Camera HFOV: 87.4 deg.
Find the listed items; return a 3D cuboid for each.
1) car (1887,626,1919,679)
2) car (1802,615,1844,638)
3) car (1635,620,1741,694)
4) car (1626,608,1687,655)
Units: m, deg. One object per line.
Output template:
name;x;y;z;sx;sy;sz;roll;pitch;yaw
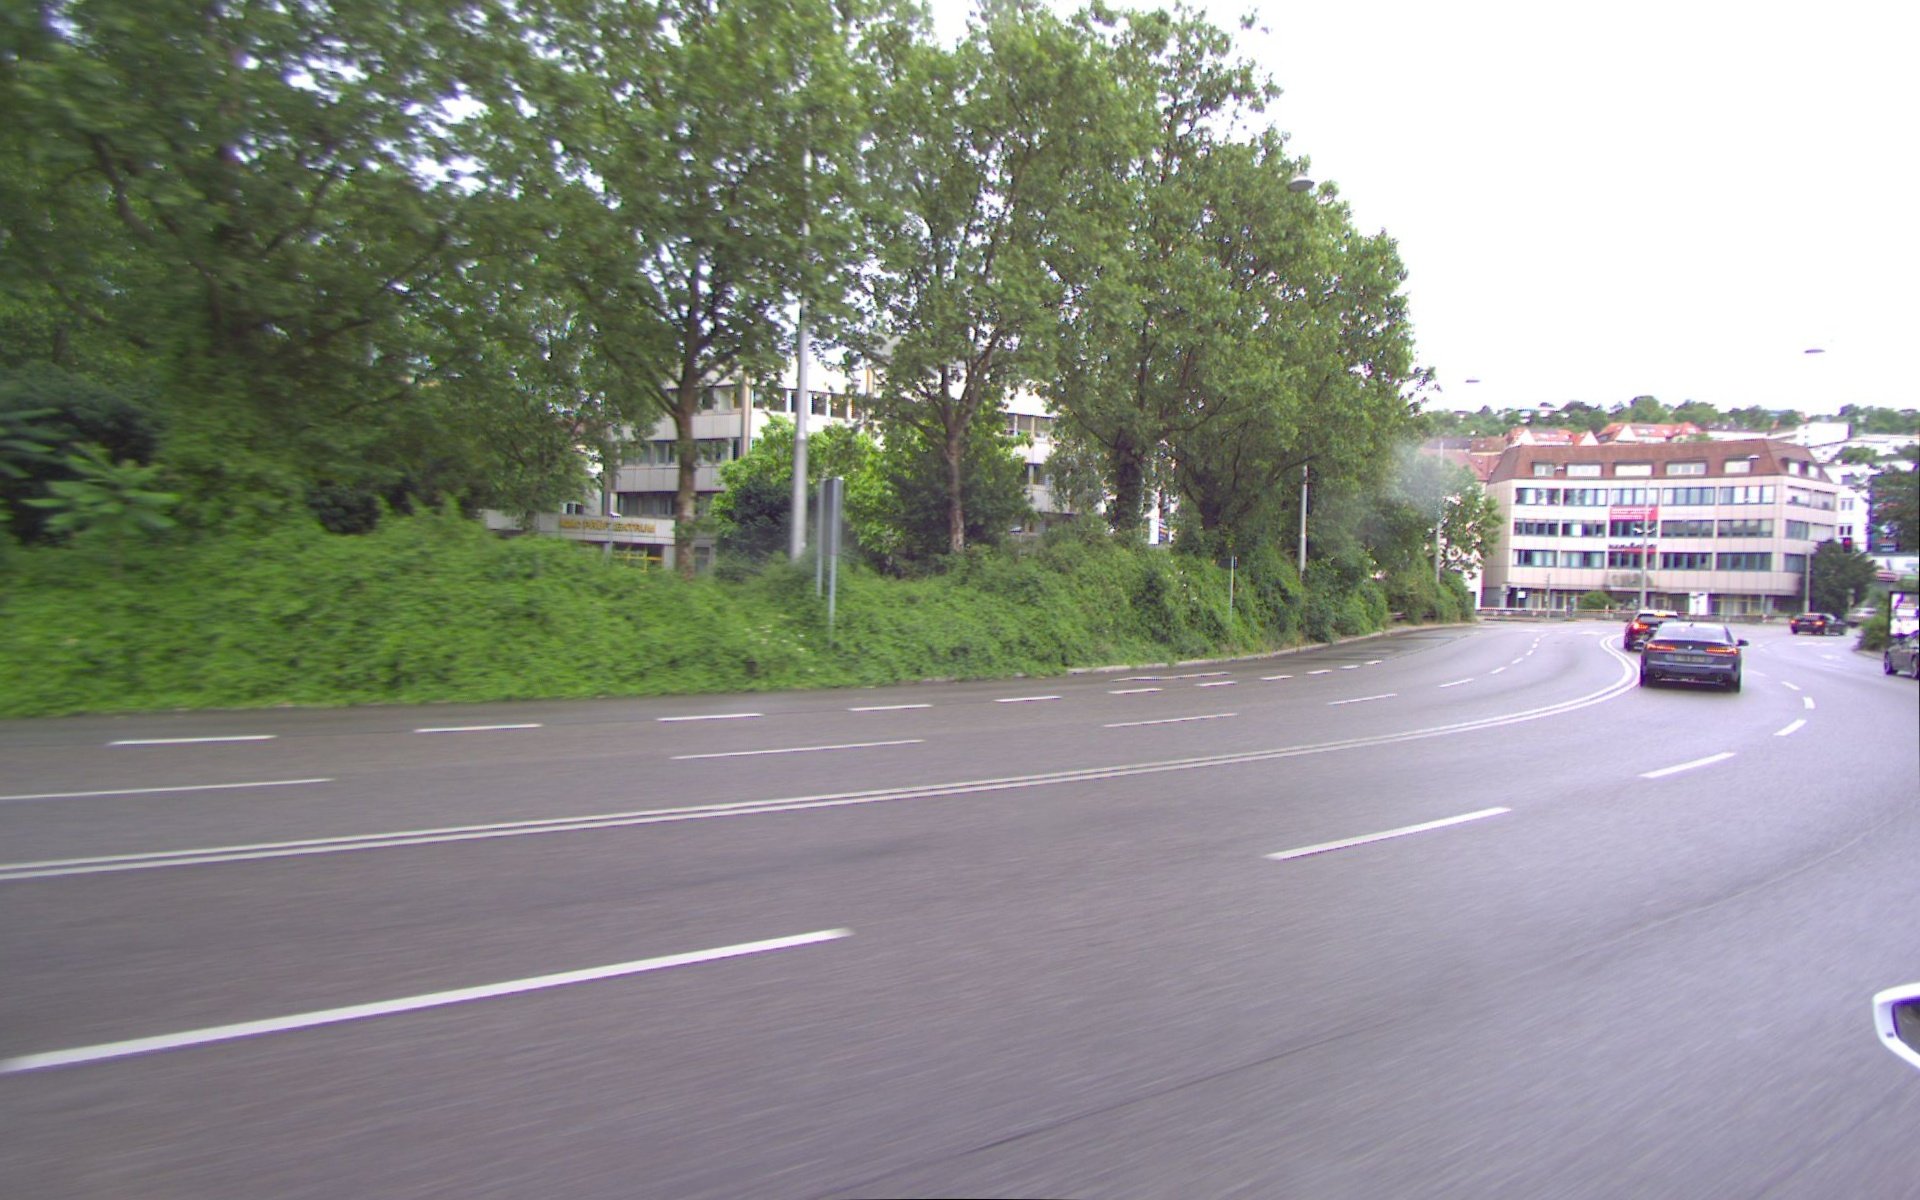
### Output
car;27.729;1.479;28.233;1.933;1.445;4.111;2;0;36
car;57.162;1.732;66.515;1.773;1.445;4.583;3;1;45
car;16.557;1.222;22.790;1.768;1.445;4.367;2;0;37
car;27.571;1.256;39.770;1.875;1.716;3.987;1;-1;35
